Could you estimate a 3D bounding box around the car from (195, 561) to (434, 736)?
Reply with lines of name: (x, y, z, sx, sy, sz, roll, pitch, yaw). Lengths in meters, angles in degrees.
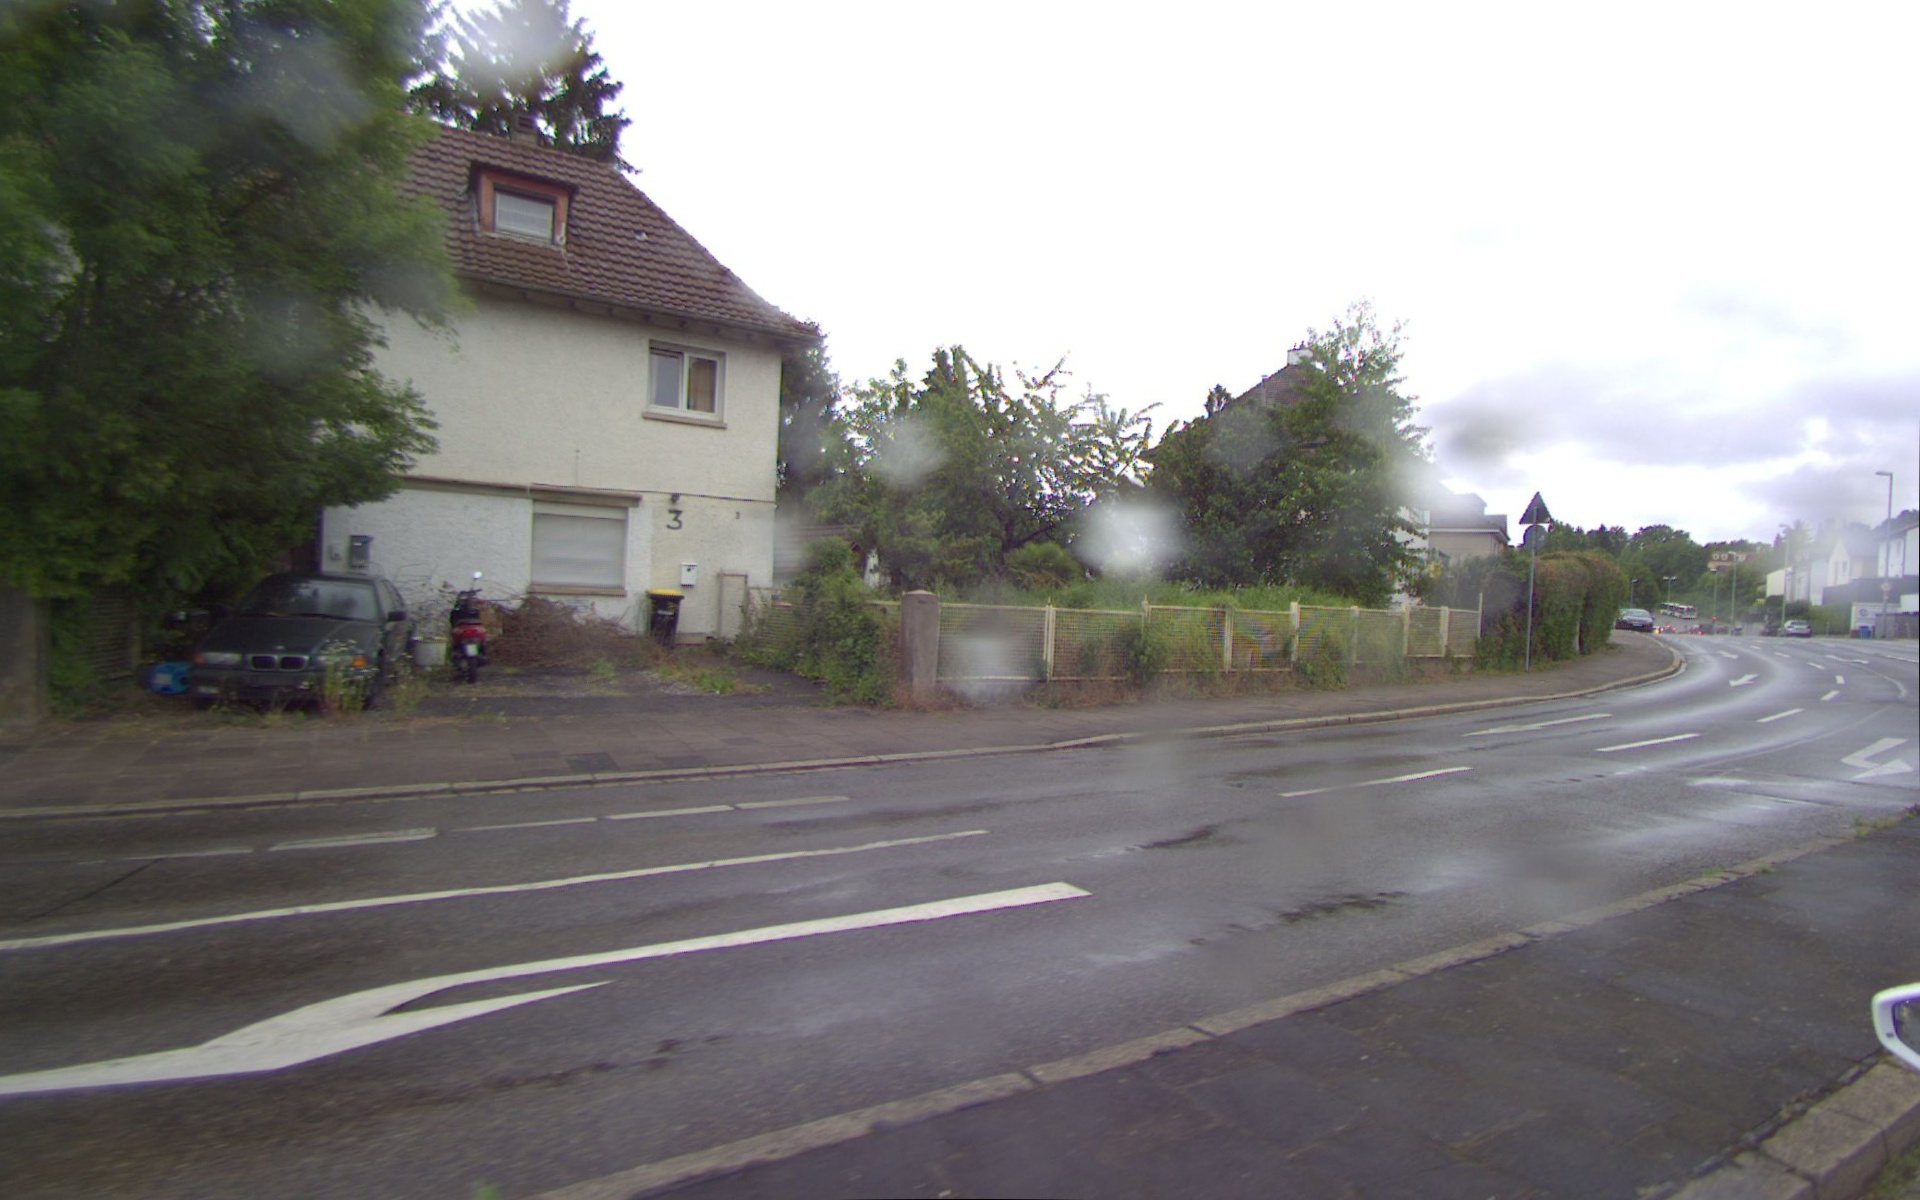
car: (-7.228, 0.402, 11.334, 1.912, 1.413, 3.963, 2, 4, -33)

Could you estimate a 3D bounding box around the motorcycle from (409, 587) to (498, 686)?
motorcycle: (-6.925, 0.456, 13.668, 0.721, 1.104, 2.186, 2, 4, -36)

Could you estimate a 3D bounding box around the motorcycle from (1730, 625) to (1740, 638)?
motorcycle: (92.479, 3.714, 119.831, 0.693, 1.529, 2.145, -1, -3, 32)

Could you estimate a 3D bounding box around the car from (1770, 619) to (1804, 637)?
car: (73.899, 2.525, 89.770, 1.676, 1.530, 4.525, 2, -1, 31)

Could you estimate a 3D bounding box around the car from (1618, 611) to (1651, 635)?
car: (45.715, 1.559, 68.153, 1.725, 1.458, 4.120, 2, -1, 32)

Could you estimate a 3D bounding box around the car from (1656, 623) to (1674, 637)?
car: (96.437, 4.063, 137.446, 1.967, 1.763, 3.987, 2, -1, 36)

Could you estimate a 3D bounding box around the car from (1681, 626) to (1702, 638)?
car: (108.978, 4.805, 149.677, 1.963, 1.763, 3.995, 2, -1, 28)
